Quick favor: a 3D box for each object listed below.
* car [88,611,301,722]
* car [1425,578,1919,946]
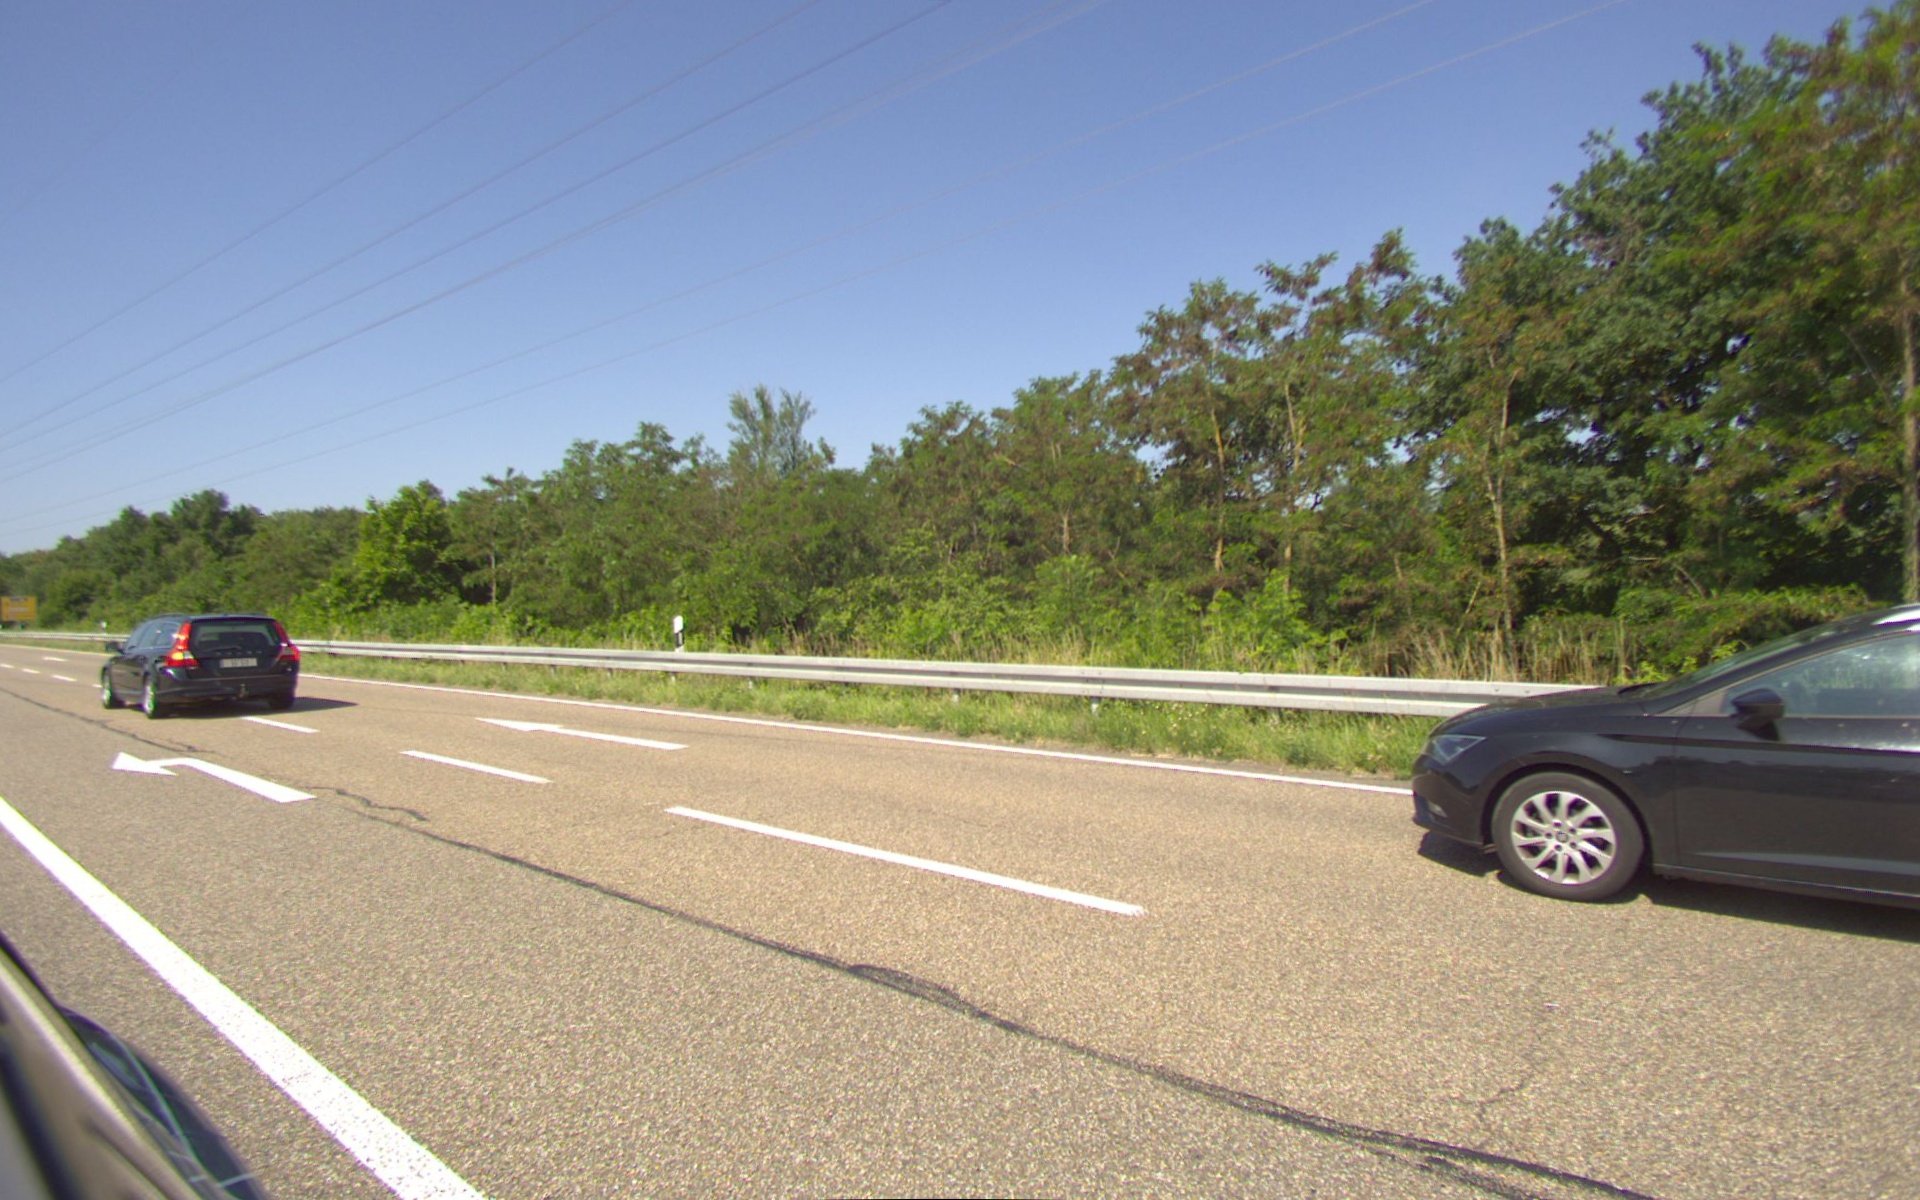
[{"bbox_3d":[-12.215,0.960,16.048,4.418,1.502,1.710,-1,0,39],"label":"car"},{"bbox_3d":[4.516,0.625,4.434,4.211,1.453,1.643,-1,0,40],"label":"car"}]
